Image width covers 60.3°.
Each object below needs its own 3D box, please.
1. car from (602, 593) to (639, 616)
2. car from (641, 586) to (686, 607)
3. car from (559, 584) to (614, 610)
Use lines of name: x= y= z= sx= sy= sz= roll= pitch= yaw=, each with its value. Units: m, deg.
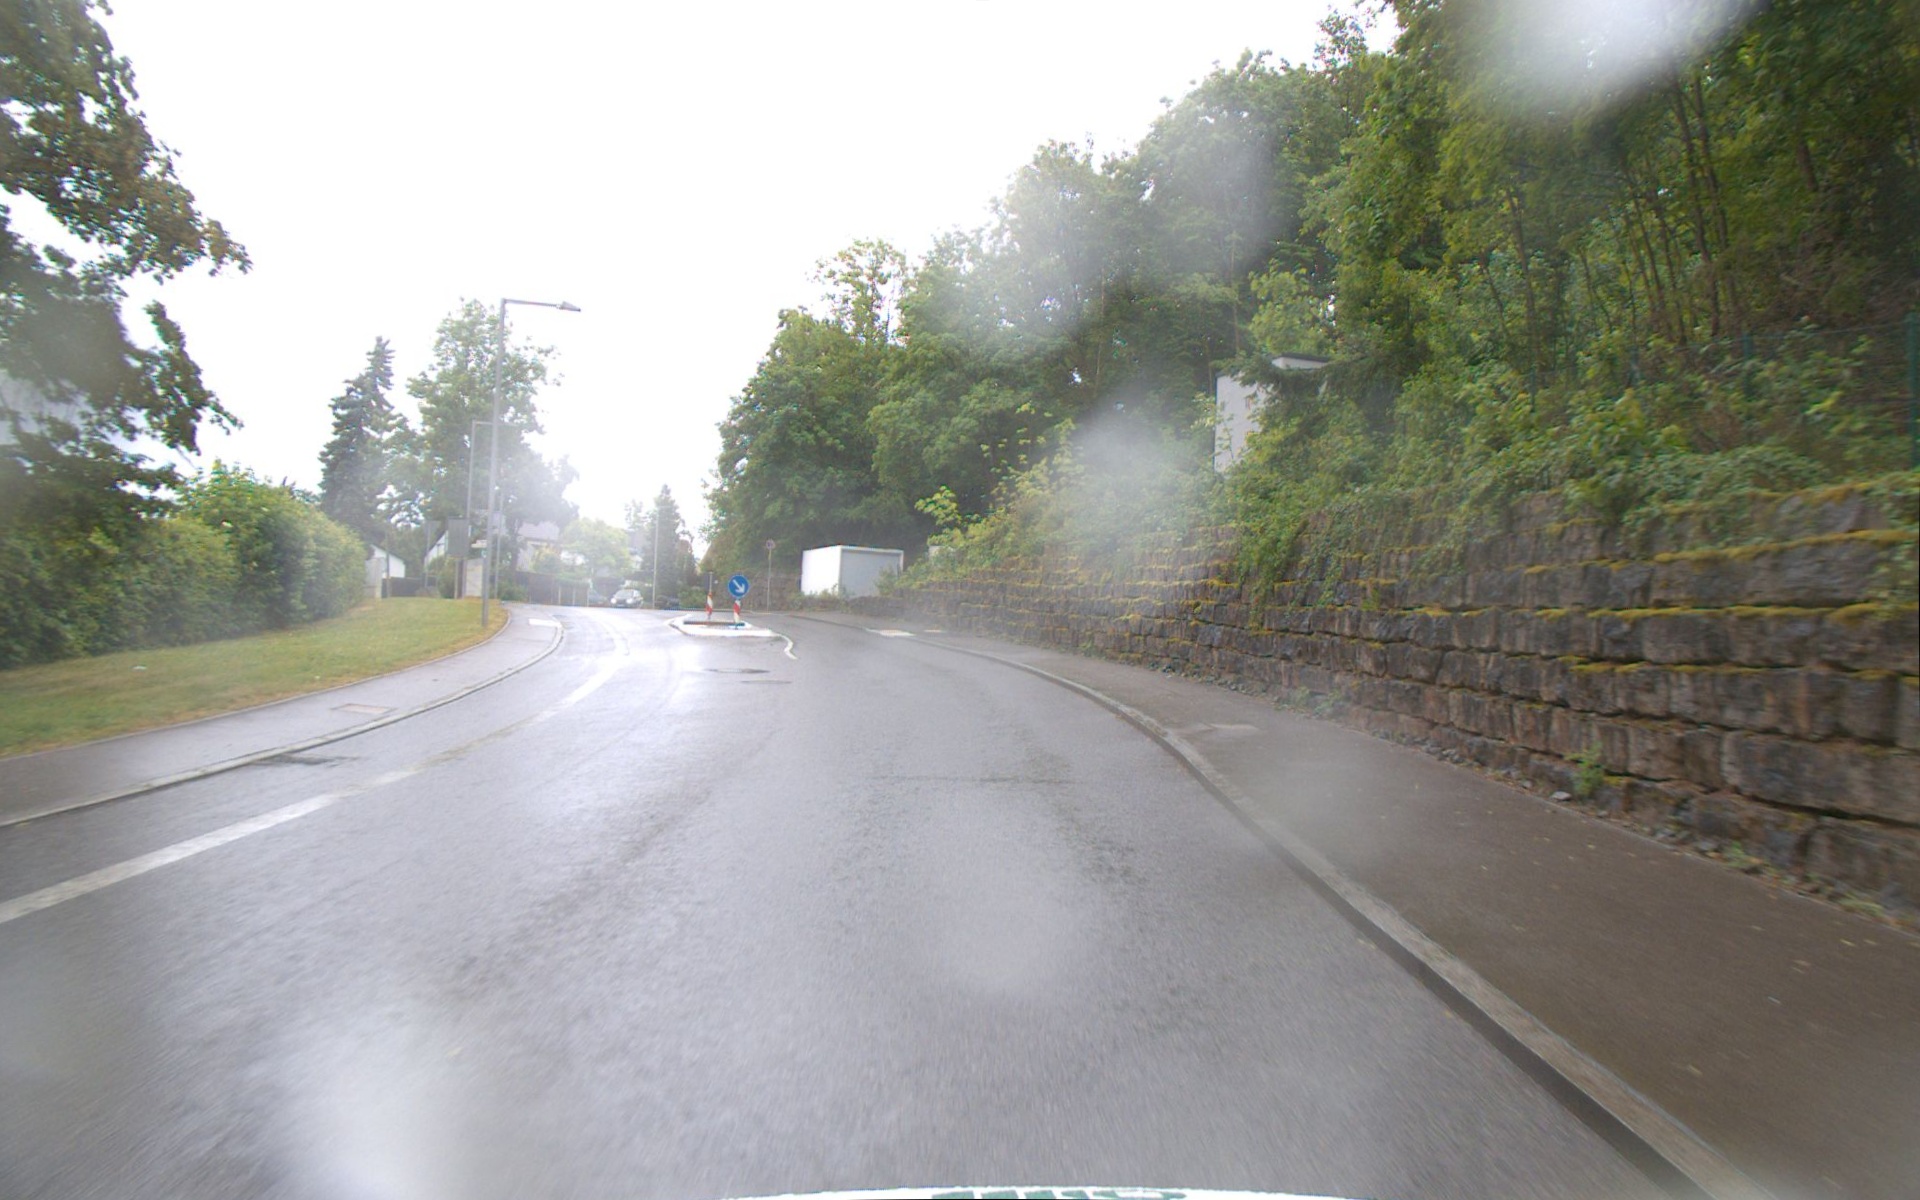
car: x=-23.657 y=0.290 z=115.340 sx=1.795 sy=1.547 sz=4.624 roll=1 pitch=0 yaw=-3
car: x=-24.324 y=-0.282 z=135.737 sx=1.921 sy=1.413 sz=3.945 roll=7 pitch=-3 yaw=-39
car: x=-28.572 y=-0.206 z=126.486 sx=3.923 sy=1.660 sz=2.005 roll=4 pitch=-2 yaw=38
